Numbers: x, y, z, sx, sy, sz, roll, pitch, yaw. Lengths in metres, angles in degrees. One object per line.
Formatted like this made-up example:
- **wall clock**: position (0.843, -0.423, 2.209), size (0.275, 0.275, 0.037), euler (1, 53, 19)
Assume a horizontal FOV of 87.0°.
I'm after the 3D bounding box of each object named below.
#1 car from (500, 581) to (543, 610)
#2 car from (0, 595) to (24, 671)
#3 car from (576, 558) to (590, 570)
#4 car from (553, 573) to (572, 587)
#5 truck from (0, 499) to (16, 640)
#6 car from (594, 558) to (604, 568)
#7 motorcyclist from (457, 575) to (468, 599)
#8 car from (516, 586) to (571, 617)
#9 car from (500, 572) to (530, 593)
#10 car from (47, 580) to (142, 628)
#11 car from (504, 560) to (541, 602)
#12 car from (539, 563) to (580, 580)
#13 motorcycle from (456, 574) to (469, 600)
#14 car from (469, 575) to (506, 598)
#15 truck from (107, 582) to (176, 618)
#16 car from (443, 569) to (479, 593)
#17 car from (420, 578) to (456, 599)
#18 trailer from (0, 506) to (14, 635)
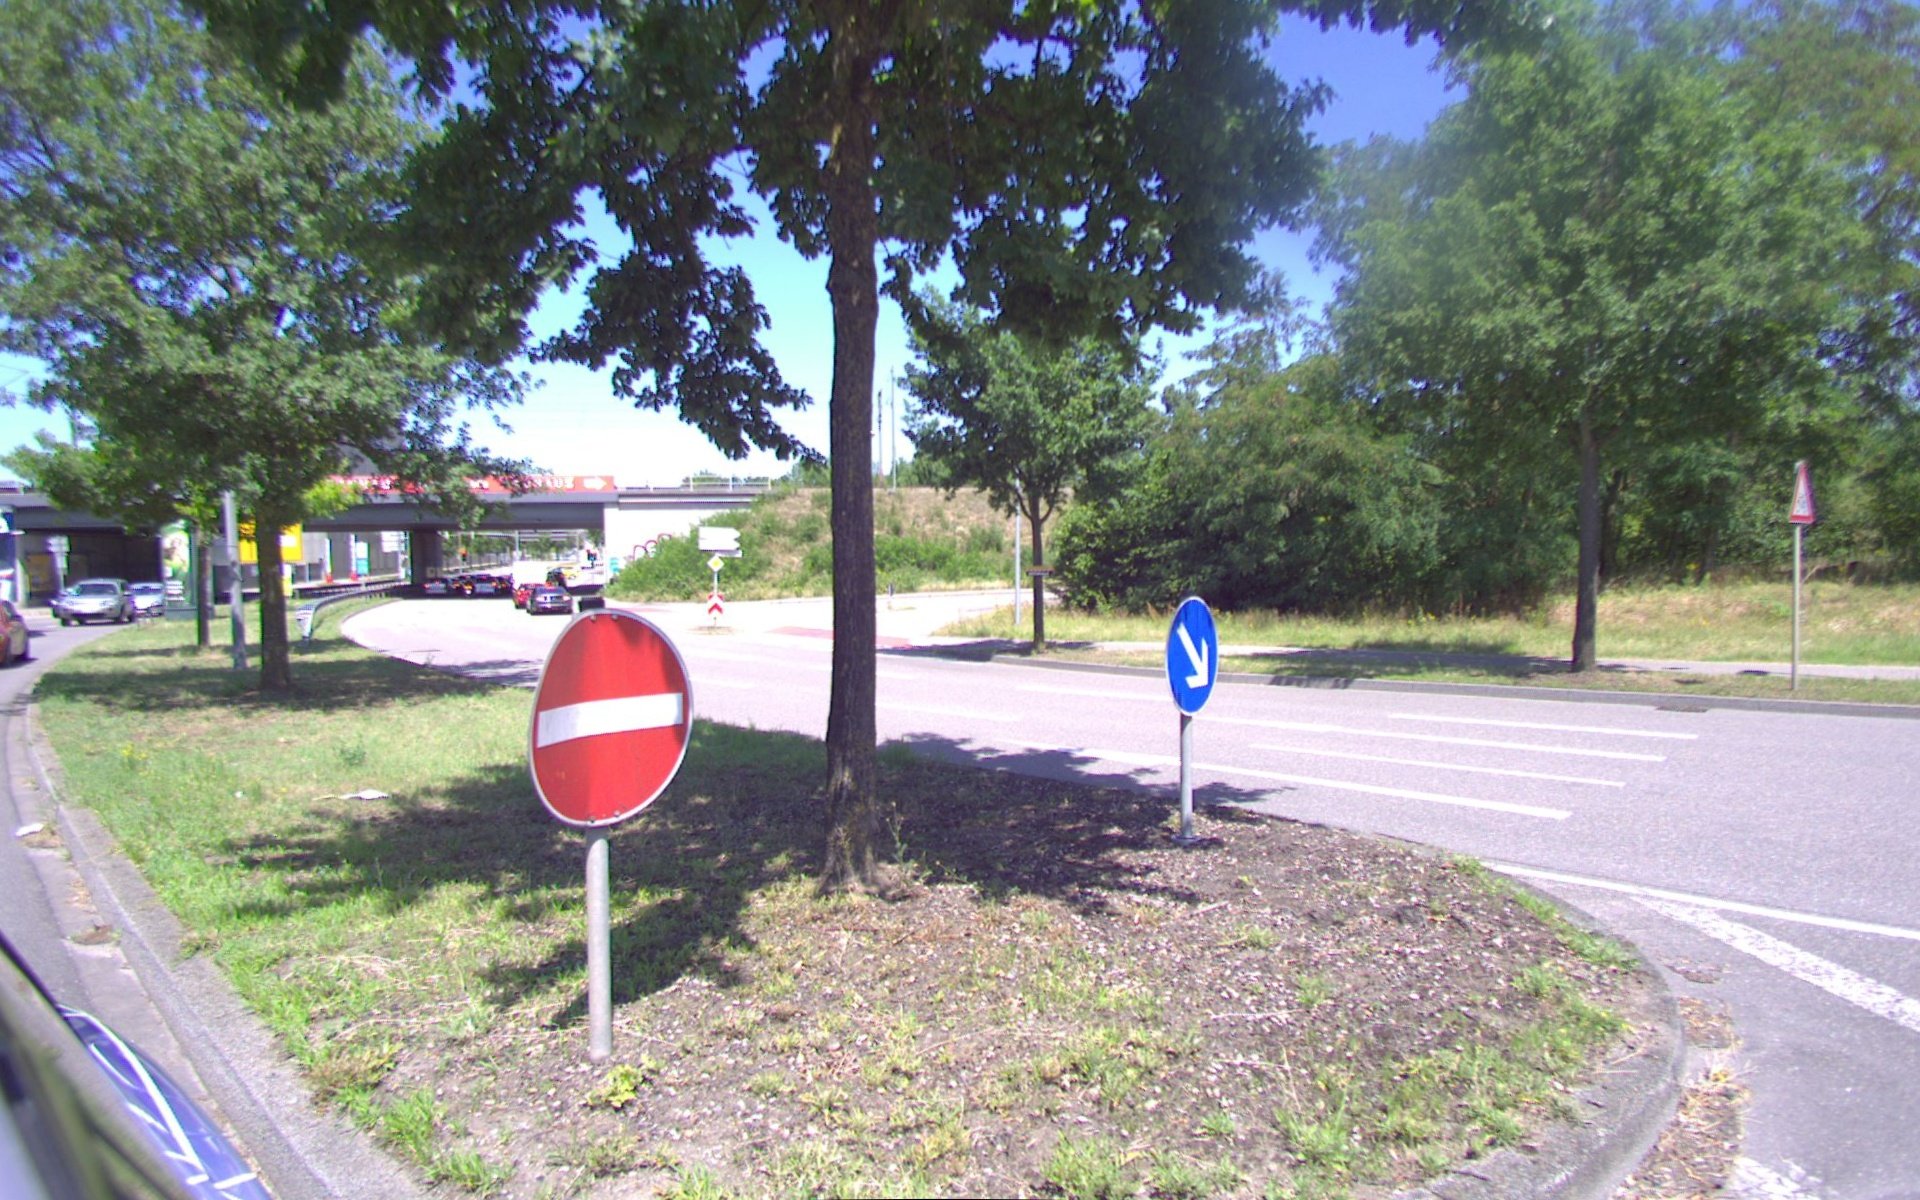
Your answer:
- **car**: position (-24.359, -0.286, 56.183), size (1.805, 1.448, 4.541), euler (-1, 2, -28)
- **car**: position (-20.528, 0.635, 20.775), size (1.621, 1.409, 4.060), euler (0, 1, -39)
- **car**: position (-65.008, -6.201, 174.595), size (1.966, 2.118, 6.403), euler (-1, 2, -17)
- **car**: position (-36.971, -1.901, 94.068), size (1.167, 1.257, 2.699), euler (-1, 2, -11)
- **truck**: position (-31.063, -0.905, 30.659), size (5.752, 4.132, 2.544), euler (1, 2, 37)
- **car**: position (-70.713, -7.248, 198.171), size (1.678, 2.028, 4.013), euler (-1, 2, -17)
- **motorcyclist**: position (-33.298, -0.881, 67.728), size (0.579, 1.638, 0.564), euler (-1, 2, -22)
- **car**: position (-20.345, 0.026, 49.355), size (1.784, 1.343, 4.583), euler (-2, 2, -31)
- **car**: position (-40.552, -1.633, 92.227), size (1.876, 1.873, 4.012), euler (-1, 2, -15)
- **car**: position (-33.463, 0.095, 39.252), size (1.815, 1.708, 3.712), euler (-1, 2, -24)
- **car**: position (-28.319, -1.179, 65.448), size (2.064, 2.519, 5.828), euler (-1, 0, -24)
- **car**: position (-45.845, -3.247, 115.750), size (4.245, 1.873, 1.879), euler (-1, 2, -24)
- **motorcycle**: position (-33.361, -0.905, 67.840), size (0.589, 1.690, 2.434), euler (-1, 2, -22)
- **car**: position (-33.515, -0.957, 71.936), size (1.612, 1.579, 4.084), euler (0, 1, -14)
- **truck**: position (-37.163, -0.037, 46.048), size (1.702, 1.513, 4.013), euler (-1, 2, -28)
- **car**: position (-41.263, -1.599, 83.780), size (1.876, 1.873, 4.012), euler (-1, 2, -15)
- **car**: position (-37.299, -0.845, 72.398), size (1.611, 1.413, 4.235), euler (0, 1, -18)
- **trailer**: position (-37.367, -0.831, 33.597), size (13.796, 4.120, 2.485), euler (-1, 2, 19)
